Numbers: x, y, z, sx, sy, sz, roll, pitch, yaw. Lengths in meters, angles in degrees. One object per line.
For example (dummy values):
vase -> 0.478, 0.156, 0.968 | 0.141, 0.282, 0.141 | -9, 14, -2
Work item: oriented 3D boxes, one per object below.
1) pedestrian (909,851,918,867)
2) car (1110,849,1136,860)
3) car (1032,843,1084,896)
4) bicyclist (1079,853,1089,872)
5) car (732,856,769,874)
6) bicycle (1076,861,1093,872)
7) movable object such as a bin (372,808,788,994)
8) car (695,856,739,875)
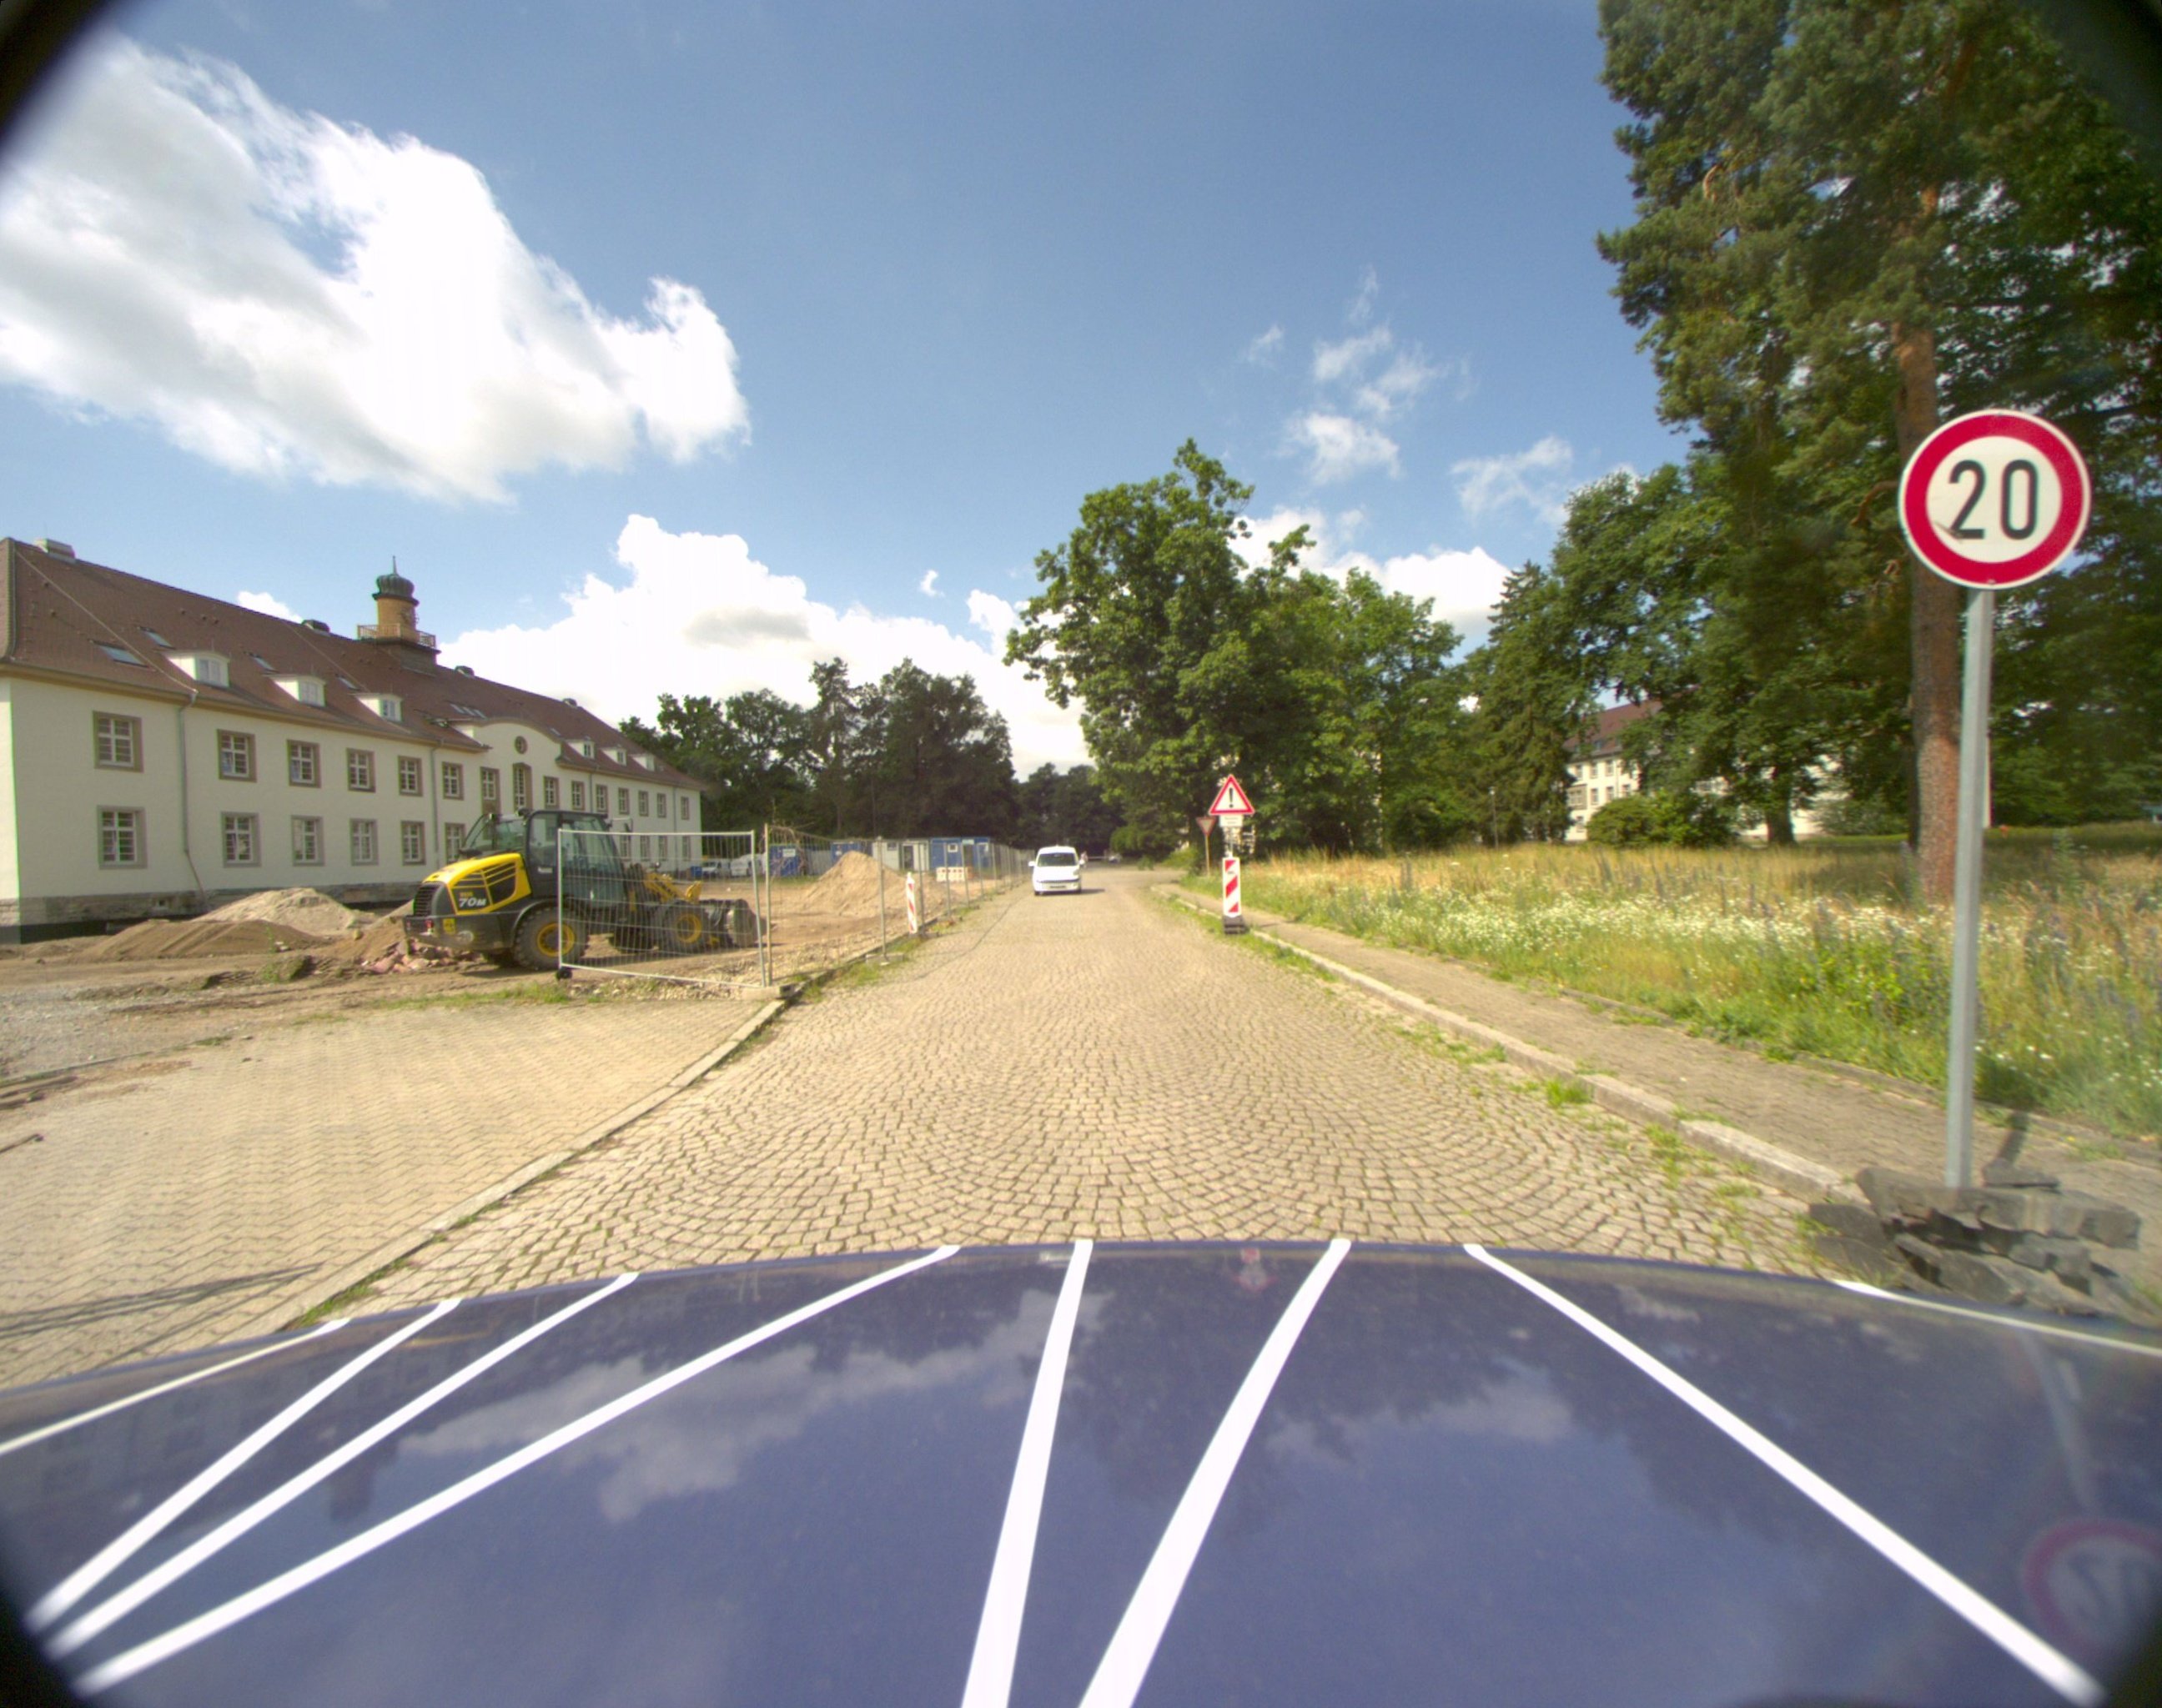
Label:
pedestrian -> -14.100, 0.417, 63.906 | 0.602, 1.236, 0.682 | -2, 1, -2
car -> 6.732, 0.115, 122.951 | 4.084, 1.634, 1.767 | -2, 1, -1
car -> -0.954, 0.601, 29.964 | 1.839, 1.857, 4.829 | -2, -1, -3
bicyclist -> 0.296, 0.772, 69.790 | 0.636, 1.760, 0.570 | -3, 1, -37
car -> -32.533, 1.060, 74.822 | 1.802, 1.674, 4.039 | -1, 1, 1
bicycle -> 0.312, 1.145, 69.790 | 0.636, 0.990, 1.553 | -3, 1, -37
movable object such as a bin -> -8.174, 0.642, 13.224 | 2.144, 2.507, 5.666 | -1, 0, 28
car -> -35.704, 1.123, 74.669 | 1.884, 1.718, 4.707 | -1, 1, 1
